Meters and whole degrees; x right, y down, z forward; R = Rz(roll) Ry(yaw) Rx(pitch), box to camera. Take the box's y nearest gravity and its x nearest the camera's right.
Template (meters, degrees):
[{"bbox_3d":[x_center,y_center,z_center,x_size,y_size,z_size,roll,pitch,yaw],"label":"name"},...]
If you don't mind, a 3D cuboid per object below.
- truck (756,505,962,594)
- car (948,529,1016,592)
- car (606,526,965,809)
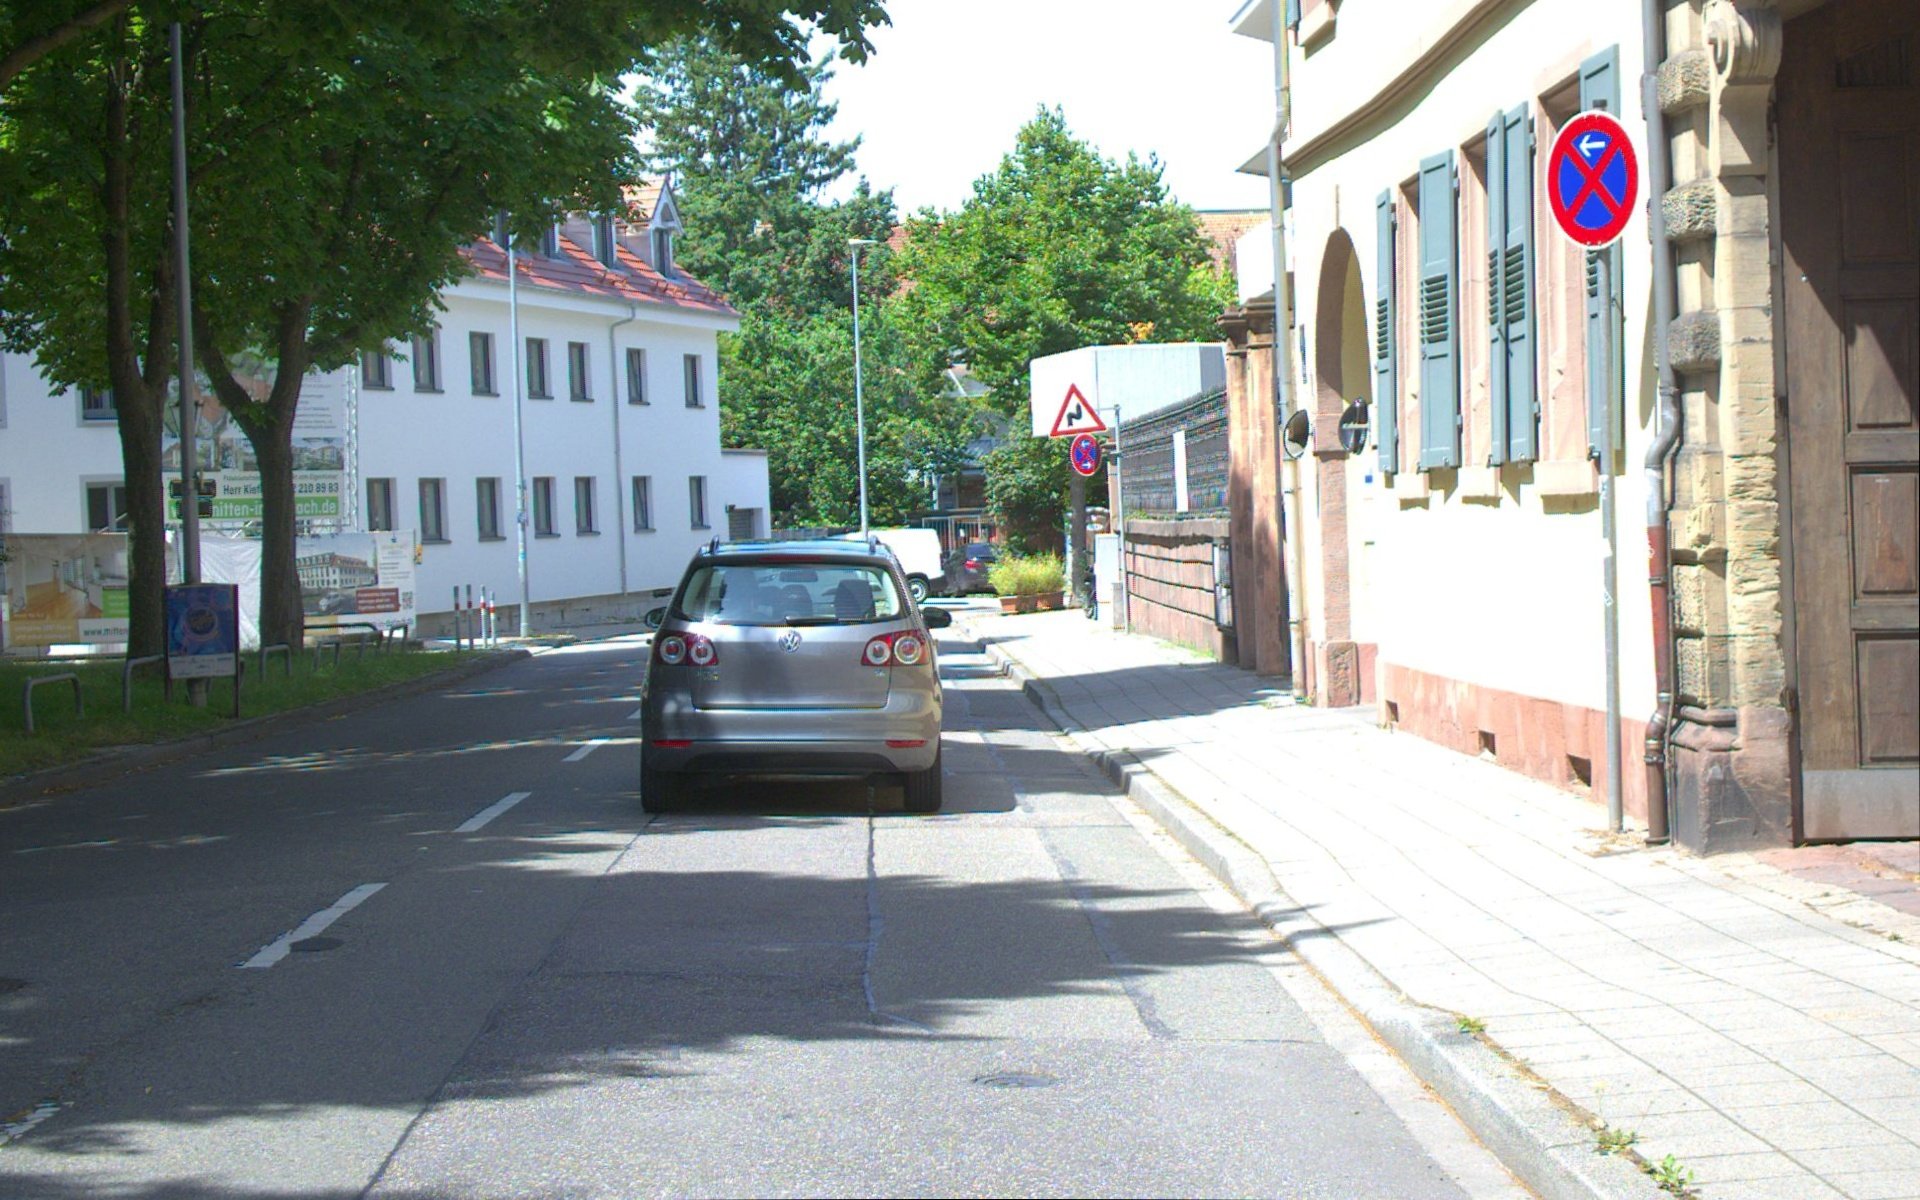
[{"bbox_3d":[-2.516,-1.248,84.732,4.792,2.007,2.146,-2,1,-8],"label":"truck"},{"bbox_3d":[0.553,-1.042,89.384,1.647,1.568,3.639,-1,1,-1],"label":"car"},{"bbox_3d":[-0.959,0.340,21.041,1.903,1.528,4.243,-1,1,1],"label":"car"}]
